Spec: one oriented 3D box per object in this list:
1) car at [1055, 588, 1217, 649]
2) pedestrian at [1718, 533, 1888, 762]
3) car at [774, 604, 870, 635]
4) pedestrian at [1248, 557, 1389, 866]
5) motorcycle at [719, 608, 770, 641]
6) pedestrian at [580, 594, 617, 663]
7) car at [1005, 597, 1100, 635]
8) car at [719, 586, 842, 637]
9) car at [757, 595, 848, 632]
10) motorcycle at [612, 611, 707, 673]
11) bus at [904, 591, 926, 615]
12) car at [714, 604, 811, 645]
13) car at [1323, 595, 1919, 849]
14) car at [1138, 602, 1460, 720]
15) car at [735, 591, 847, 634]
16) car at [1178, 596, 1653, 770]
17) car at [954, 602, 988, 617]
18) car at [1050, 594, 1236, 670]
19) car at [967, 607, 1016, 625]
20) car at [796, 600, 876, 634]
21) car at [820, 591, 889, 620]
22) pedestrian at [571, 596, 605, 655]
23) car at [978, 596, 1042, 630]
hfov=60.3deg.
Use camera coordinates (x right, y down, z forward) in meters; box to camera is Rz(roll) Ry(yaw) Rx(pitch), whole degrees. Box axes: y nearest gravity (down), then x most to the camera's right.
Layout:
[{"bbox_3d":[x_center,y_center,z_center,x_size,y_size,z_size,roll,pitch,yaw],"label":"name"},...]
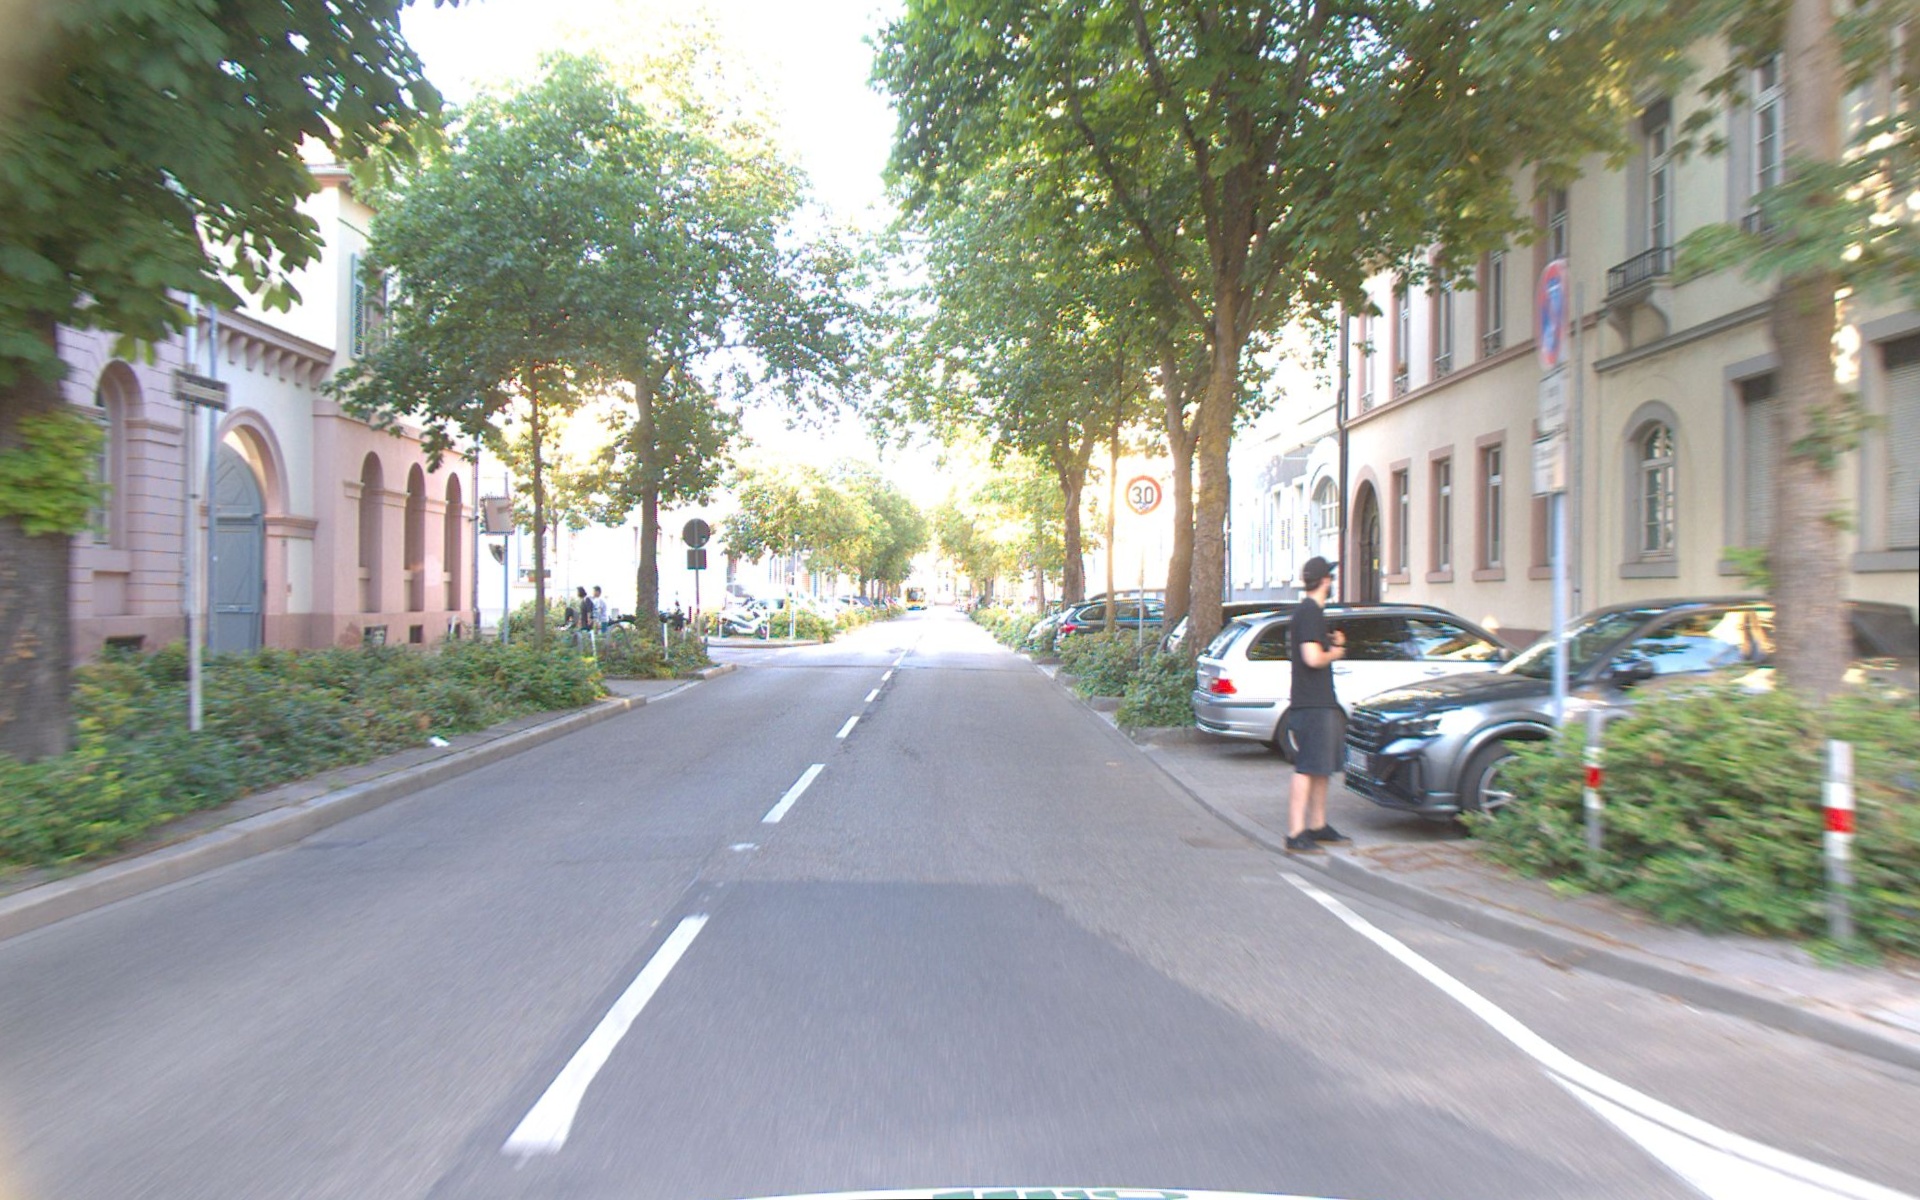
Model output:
[{"bbox_3d":[4.513,0.472,42.713,3.933,1.443,1.780,-1,0,-2],"label":"car"},{"bbox_3d":[6.595,0.354,12.978,0.923,1.736,0.782,0,1,1],"label":"pedestrian"},{"bbox_3d":[-7.473,1.055,89.966,4.958,1.645,2.264,0,0,3],"label":"car"},{"bbox_3d":[2.279,0.687,10.600,0.777,1.901,0.752,1,0,4],"label":"pedestrian"},{"bbox_3d":[-7.216,0.820,55.317,1.603,1.087,0.656,1,0,-1],"label":"motorcycle"},{"bbox_3d":[-8.962,0.707,41.042,0.703,1.693,0.838,0,0,2],"label":"pedestrian"},{"bbox_3d":[4.446,0.764,80.205,4.498,1.792,2.222,0,0,0],"label":"car"},{"bbox_3d":[-7.547,0.464,69.902,4.961,2.119,2.262,0,0,-1],"label":"car"},{"bbox_3d":[-9.043,0.769,95.402,4.959,2.119,2.263,0,0,1],"label":"car"},{"bbox_3d":[-6.308,0.886,34.724,1.880,1.281,0.591,0,0,-1],"label":"motorcycle"},{"bbox_3d":[-6.144,0.371,224.038,2.967,3.246,9.398,0,0,-2],"label":"bus"},{"bbox_3d":[-7.669,0.934,64.505,3.652,1.534,1.871,0,0,-4],"label":"car"},{"bbox_3d":[4.681,0.762,11.162,4.025,1.516,1.850,1,1,-2],"label":"car"},{"bbox_3d":[4.462,0.783,22.139,3.933,1.506,1.780,0,0,-2],"label":"car"},{"bbox_3d":[-7.934,0.572,78.009,4.959,1.855,2.264,0,3,1],"label":"car"},{"bbox_3d":[4.309,0.759,16.123,4.107,1.506,1.852,-1,0,-1],"label":"car"},{"bbox_3d":[1.392,1.147,202.695,3.902,1.870,2.001,0,0,7],"label":"car"},{"bbox_3d":[4.061,0.705,37.072,3.933,1.651,1.780,0,0,-2],"label":"car"},{"bbox_3d":[2.597,1.284,135.404,3.907,1.467,1.696,0,0,-2],"label":"car"},{"bbox_3d":[-7.946,1.075,106.217,4.960,2.119,2.263,0,0,0],"label":"car"},{"bbox_3d":[-7.836,0.427,123.192,4.960,2.119,2.263,0,0,0],"label":"car"},{"bbox_3d":[-9.012,0.619,40.095,0.641,1.419,0.607,1,-1,-1],"label":"pedestrian"},{"bbox_3d":[3.092,0.794,101.516,3.904,2.049,2.001,1,0,2],"label":"car"}]
